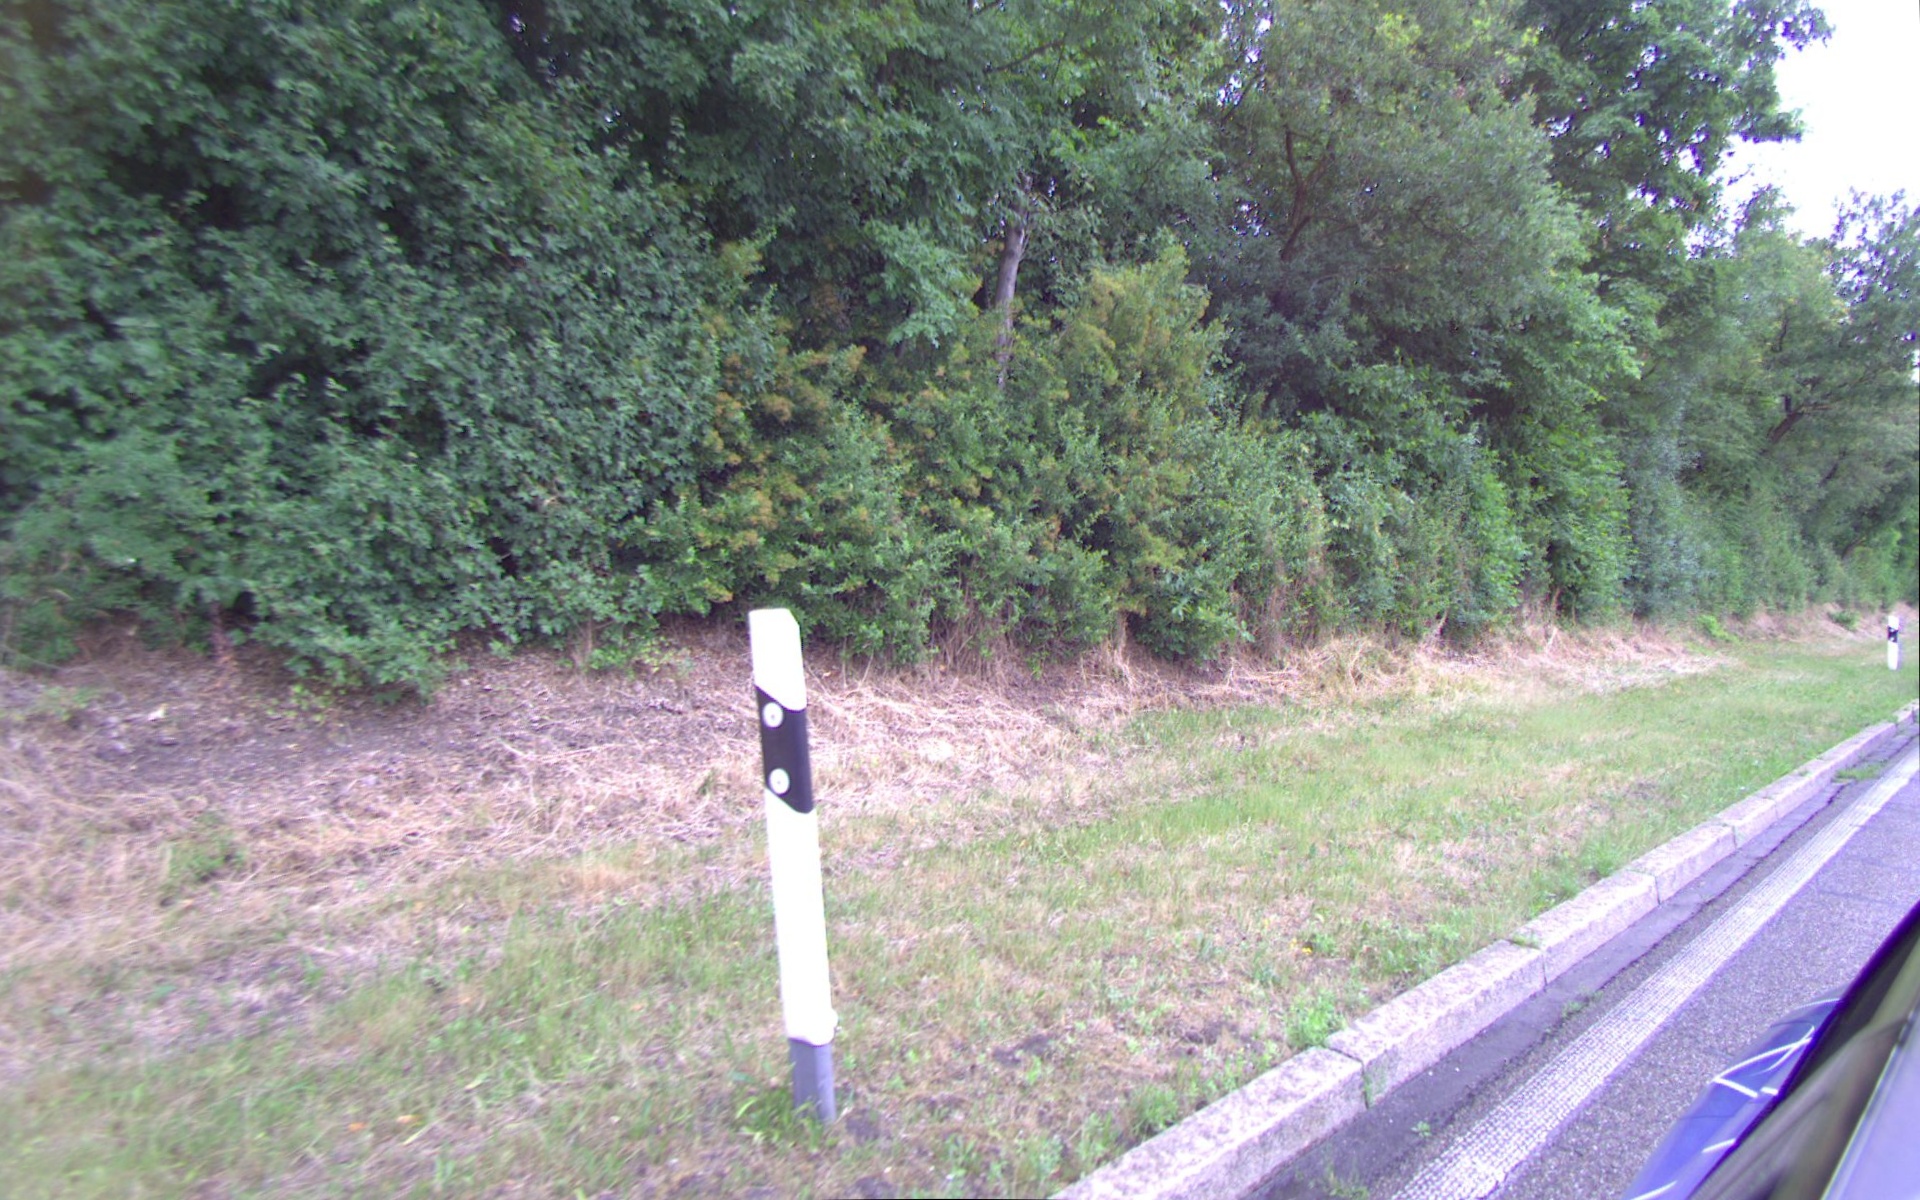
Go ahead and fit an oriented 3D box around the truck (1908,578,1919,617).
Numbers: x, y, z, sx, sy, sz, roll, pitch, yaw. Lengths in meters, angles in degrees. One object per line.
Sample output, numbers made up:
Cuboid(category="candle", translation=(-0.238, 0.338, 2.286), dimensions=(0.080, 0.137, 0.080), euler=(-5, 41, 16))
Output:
Cuboid(category="truck", translation=(131.781, -0.361, 137.890), dimensions=(2.835, 5.163, 13.920), euler=(2, 2, 39))
